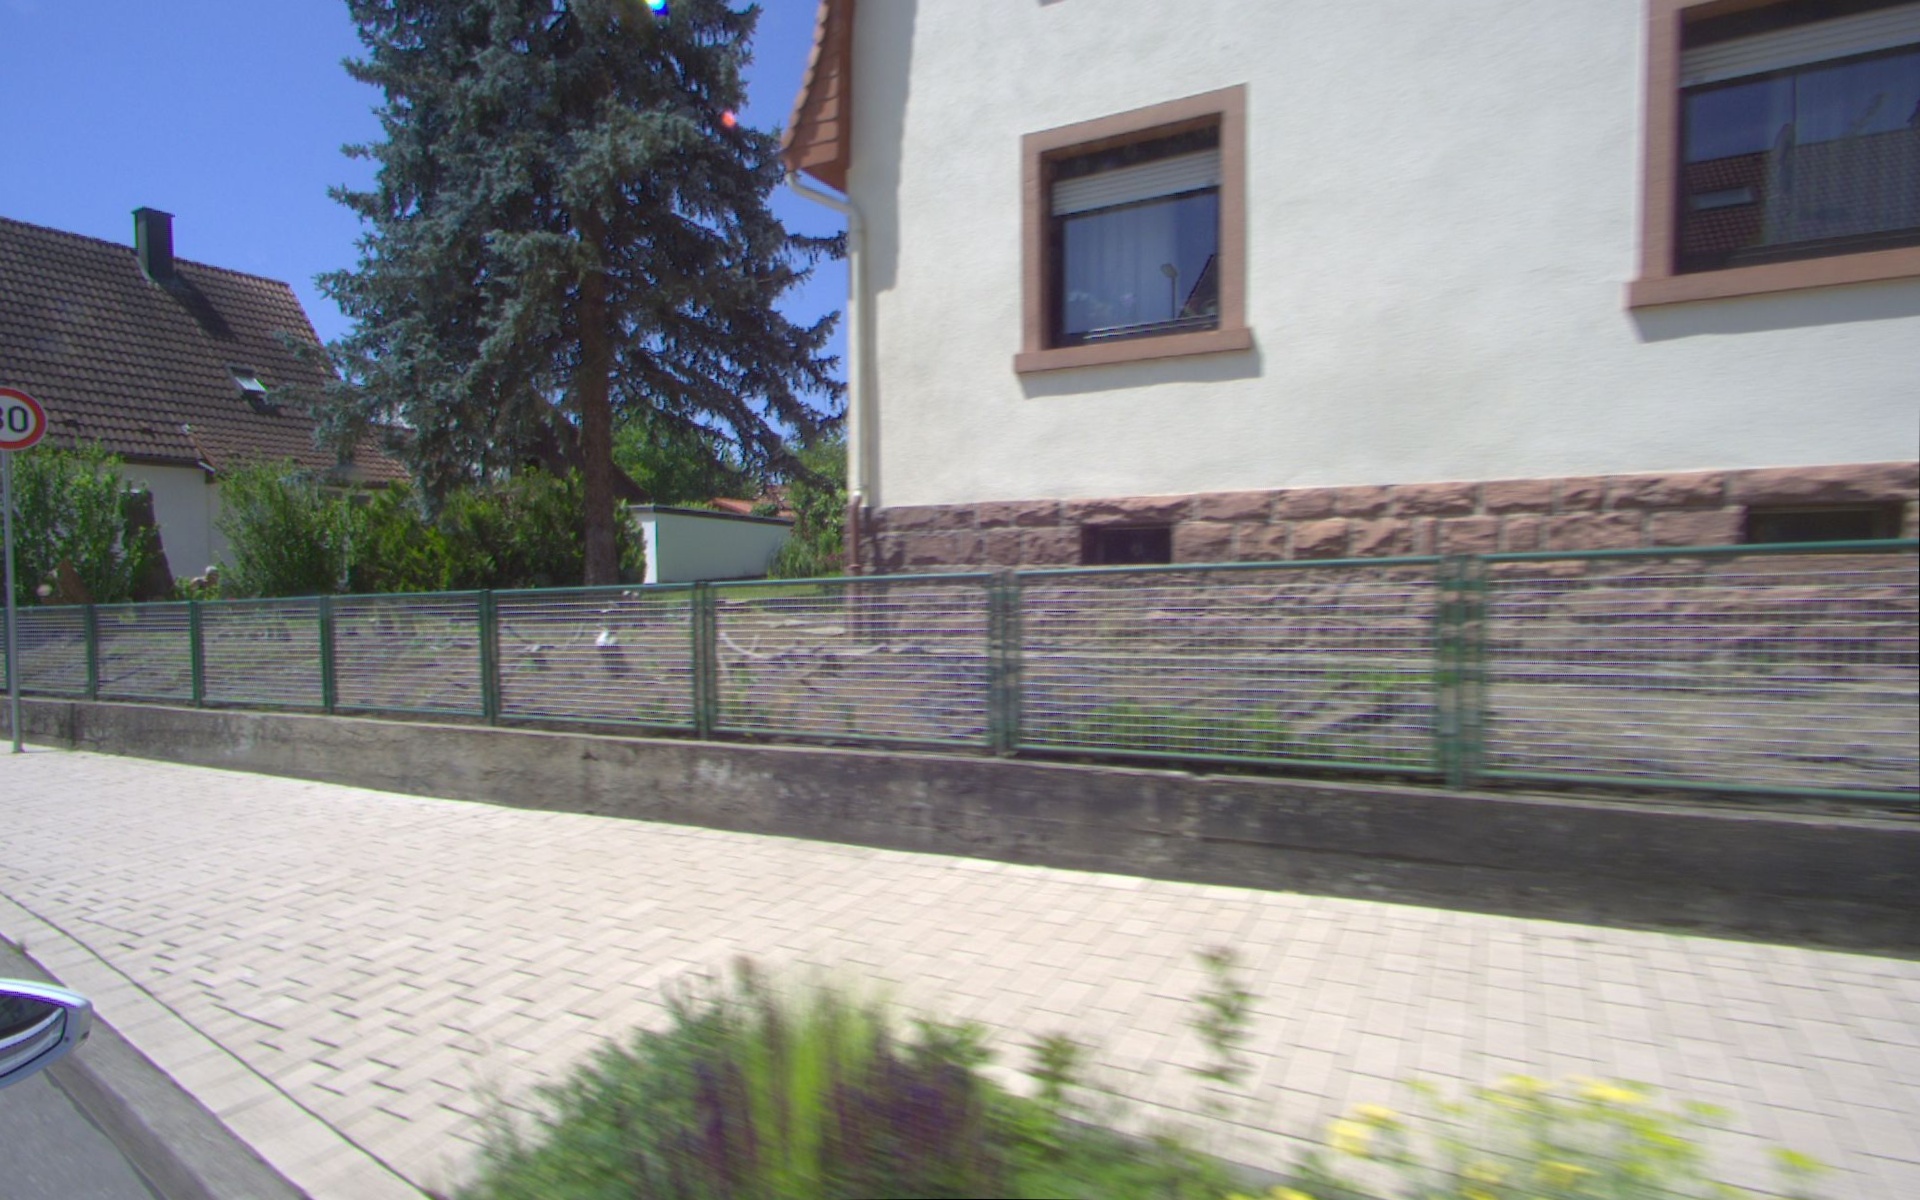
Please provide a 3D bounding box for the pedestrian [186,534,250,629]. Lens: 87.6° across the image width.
[{"bbox_3d":[-13.142,-0.326,17.754,0.544,1.639,0.602,0,5,29],"label":"pedestrian"}]
